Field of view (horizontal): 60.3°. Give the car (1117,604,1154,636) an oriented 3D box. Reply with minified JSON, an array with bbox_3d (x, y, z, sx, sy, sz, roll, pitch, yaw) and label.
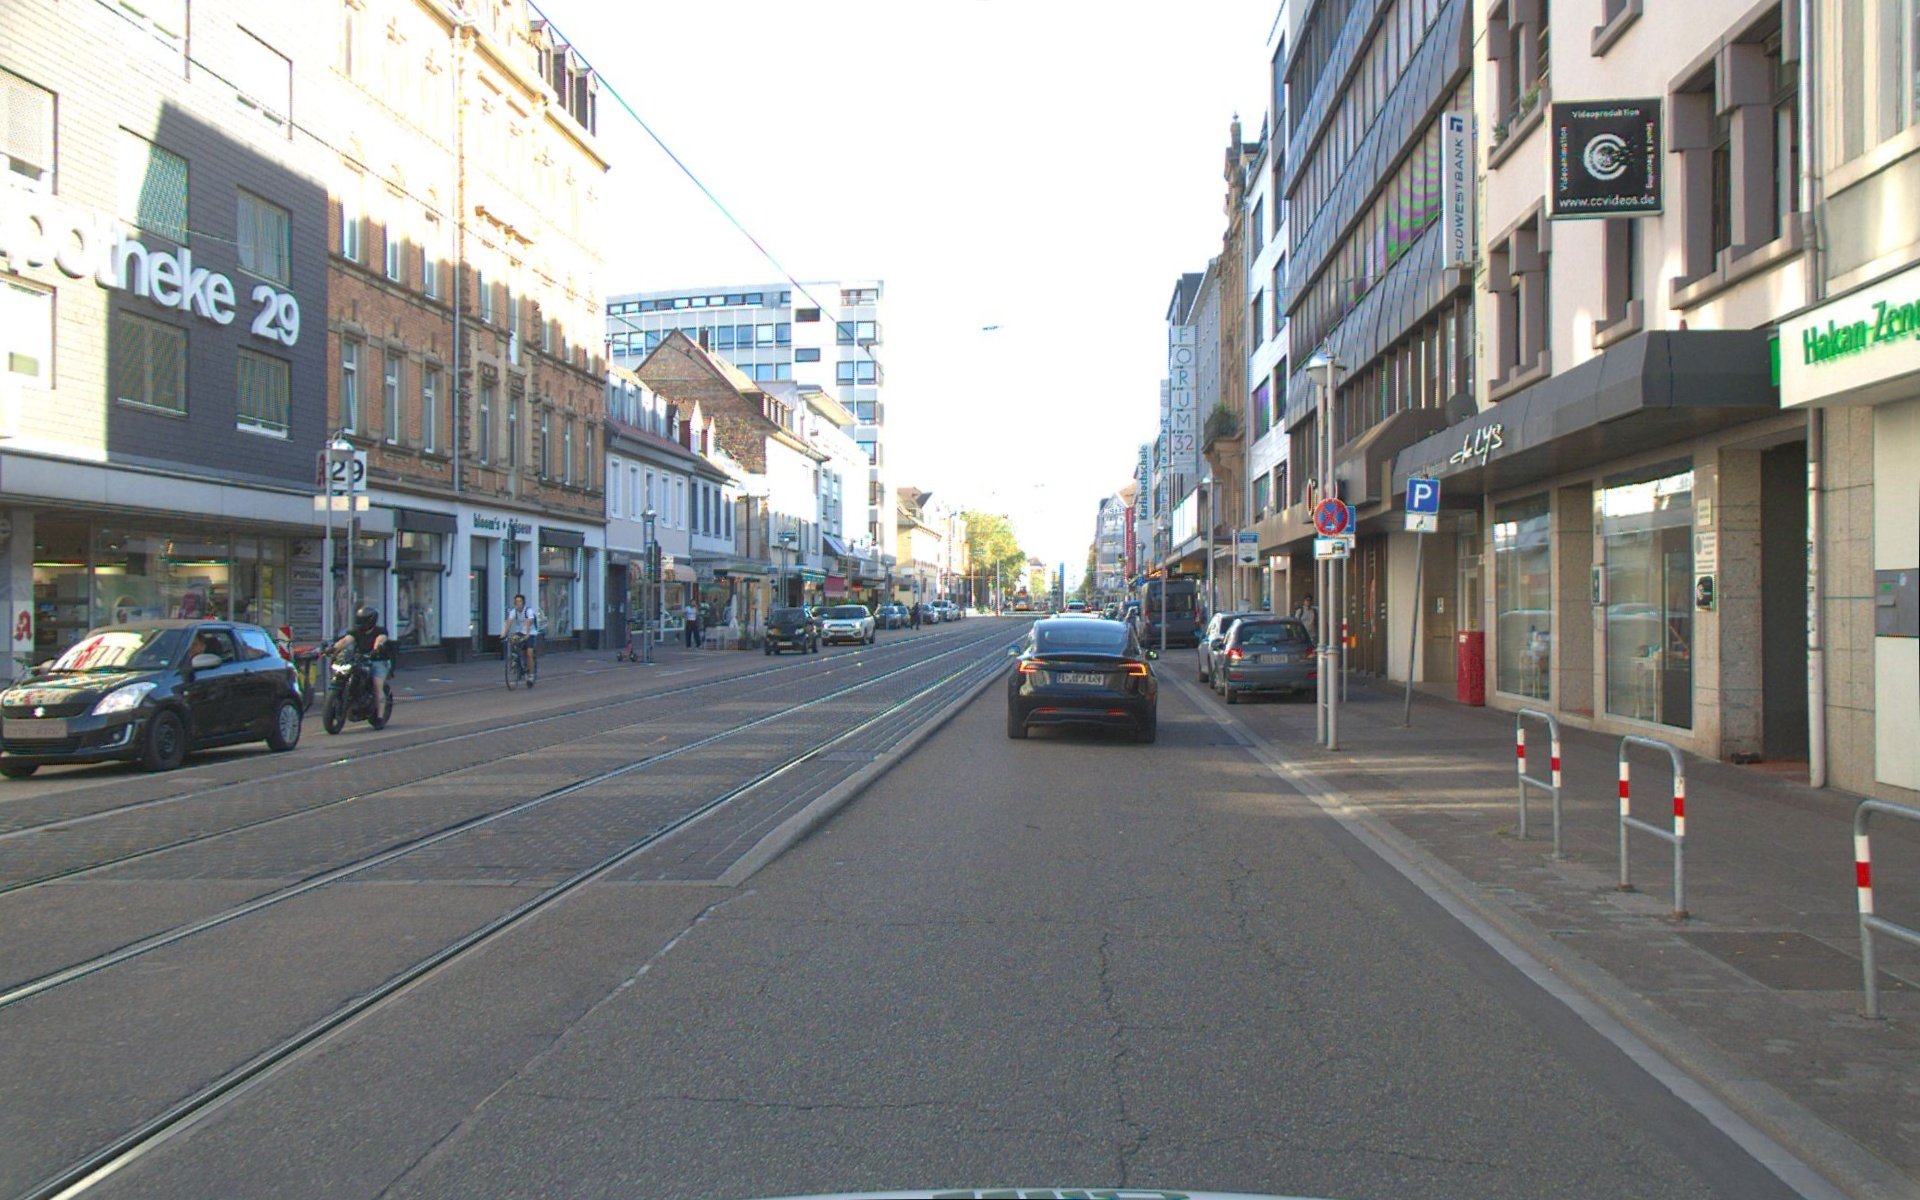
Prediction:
[{"bbox_3d":[8.835,0.969,83.302,1.714,1.526,3.755,-1,0,4],"label":"car"}]

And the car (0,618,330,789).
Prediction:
[{"bbox_3d":[-8.389,0.993,17.327,1.677,1.471,4.141,-3,0,5],"label":"car"}]

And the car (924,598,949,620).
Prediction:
[{"bbox_3d":[-2.197,0.865,155.052,1.967,1.995,4.726,0,0,4],"label":"car"}]

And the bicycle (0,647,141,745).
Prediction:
[{"bbox_3d":[-11.764,1.229,21.416,1.895,1.193,0.774,1,0,-1],"label":"bicycle"}]

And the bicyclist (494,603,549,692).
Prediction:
[{"bbox_3d":[-8.895,0.951,33.600,0.734,1.759,1.146,0,-1,5],"label":"bicyclist"}]

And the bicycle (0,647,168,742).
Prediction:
[{"bbox_3d":[-11.774,1.260,22.200,1.895,1.213,0.774,0,0,-1],"label":"bicycle"}]

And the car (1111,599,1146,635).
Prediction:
[{"bbox_3d":[9.070,0.911,89.443,1.783,1.903,3.755,0,0,4],"label":"car"}]

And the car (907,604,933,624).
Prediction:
[{"bbox_3d":[-3.267,1.160,135.735,1.681,1.599,3.852,0,0,6],"label":"car"}]

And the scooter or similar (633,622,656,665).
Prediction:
[{"bbox_3d":[-9.263,1.271,48.582,0.356,1.223,1.477,2,0,1],"label":"scooter or similar"}]

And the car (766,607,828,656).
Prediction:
[{"bbox_3d":[-5.499,1.052,55.945,1.613,1.593,2.831,0,0,4],"label":"car"}]

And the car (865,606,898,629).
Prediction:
[{"bbox_3d":[-5.289,1.189,112.380,1.732,1.535,3.866,0,0,5],"label":"car"}]

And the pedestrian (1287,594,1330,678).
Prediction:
[{"bbox_3d":[7.518,0.776,35.702,0.763,1.783,1.032,0,0,5],"label":"pedestrian"}]

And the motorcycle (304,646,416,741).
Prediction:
[{"bbox_3d":[-7.945,1.213,22.011,0.558,1.139,2.118,-1,0,4],"label":"motorcycle"}]

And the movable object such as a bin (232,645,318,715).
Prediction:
[{"bbox_3d":[-11.210,1.305,27.088,1.076,1.090,0.735,1,0,4],"label":"movable object such as a bin"}]

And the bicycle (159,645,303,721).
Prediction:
[{"bbox_3d":[-11.322,1.278,25.738,1.895,1.130,0.774,0,0,-1],"label":"bicycle"}]

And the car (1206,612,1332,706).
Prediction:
[{"bbox_3d":[5.359,0.979,29.142,1.809,1.488,4.305,-1,0,6],"label":"car"}]

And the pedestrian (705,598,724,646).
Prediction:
[{"bbox_3d":[-9.615,0.852,64.727,0.643,1.855,0.642,0,0,-2],"label":"pedestrian"}]

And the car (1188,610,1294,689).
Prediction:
[{"bbox_3d":[5.740,0.974,34.179,1.708,1.488,4.298,-1,0,4],"label":"car"}]

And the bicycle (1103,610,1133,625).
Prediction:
[{"bbox_3d":[11.581,1.272,121.434,2.114,1.116,0.686,0,0,2],"label":"bicycle"}]

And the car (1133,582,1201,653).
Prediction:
[{"bbox_3d":[7.825,0.622,62.894,2.126,2.504,5.364,-2,0,3],"label":"car"}]

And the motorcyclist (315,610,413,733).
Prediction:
[{"bbox_3d":[-7.954,0.931,22.115,0.786,1.585,1.146,-1,-1,5],"label":"motorcyclist"}]

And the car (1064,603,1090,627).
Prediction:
[{"bbox_3d":[9.405,1.194,132.494,2.041,1.903,3.755,0,0,4],"label":"car"}]

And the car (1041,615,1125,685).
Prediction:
[{"bbox_3d":[2.677,1.053,36.242,1.725,1.443,4.356,0,-1,4],"label":"car"}]

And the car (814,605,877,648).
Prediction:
[{"bbox_3d":[-4.594,1.056,66.900,1.850,1.622,4.265,-2,0,4],"label":"car"}]

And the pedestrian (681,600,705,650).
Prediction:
[{"bbox_3d":[-9.701,0.895,60.093,0.600,1.806,0.719,0,0,17],"label":"pedestrian"}]

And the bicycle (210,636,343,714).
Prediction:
[{"bbox_3d":[-10.933,1.198,26.473,1.895,1.211,0.552,0,0,0],"label":"bicycle"}]

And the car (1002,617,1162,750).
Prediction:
[{"bbox_3d":[1.567,0.981,21.221,1.830,1.452,4.367,0,0,4],"label":"car"}]

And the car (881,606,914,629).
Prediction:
[{"bbox_3d":[-4.470,1.245,118.538,1.732,1.535,3.863,0,0,7],"label":"car"}]

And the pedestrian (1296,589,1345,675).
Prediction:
[{"bbox_3d":[8.120,0.715,37.300,0.903,1.875,1.000,-2,0,5],"label":"pedestrian"}]

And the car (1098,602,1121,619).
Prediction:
[{"bbox_3d":[13.551,0.979,150.204,1.951,1.570,4.002,0,-1,4],"label":"car"}]

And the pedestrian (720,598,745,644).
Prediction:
[{"bbox_3d":[-8.984,0.832,65.386,0.867,1.806,0.688,0,0,2],"label":"pedestrian"}]

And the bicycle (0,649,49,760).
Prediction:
[{"bbox_3d":[-11.920,1.200,19.353,2.060,1.245,0.774,1,0,-1],"label":"bicycle"}]

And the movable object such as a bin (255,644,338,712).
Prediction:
[{"bbox_3d":[-11.146,1.308,27.812,1.076,1.082,0.699,1,0,4],"label":"movable object such as a bin"}]

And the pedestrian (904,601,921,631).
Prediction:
[{"bbox_3d":[-3.060,1.037,106.695,0.758,1.881,0.826,-1,0,34],"label":"pedestrian"}]

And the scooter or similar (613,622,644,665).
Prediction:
[{"bbox_3d":[-9.739,1.268,48.610,0.567,1.223,1.477,1,0,1],"label":"scooter or similar"}]

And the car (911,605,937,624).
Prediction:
[{"bbox_3d":[-3.045,1.218,141.690,1.732,1.535,3.974,0,0,6],"label":"car"}]

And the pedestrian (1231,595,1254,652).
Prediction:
[{"bbox_3d":[8.814,0.734,51.580,0.544,1.744,0.955,-2,0,3],"label":"pedestrian"}]

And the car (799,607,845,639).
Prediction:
[{"bbox_3d":[-7.030,1.149,84.382,1.640,1.573,3.746,2,0,6],"label":"car"}]

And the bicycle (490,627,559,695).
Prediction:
[{"bbox_3d":[-8.876,1.230,33.774,0.734,1.316,2.026,0,0,4],"label":"bicycle"}]
